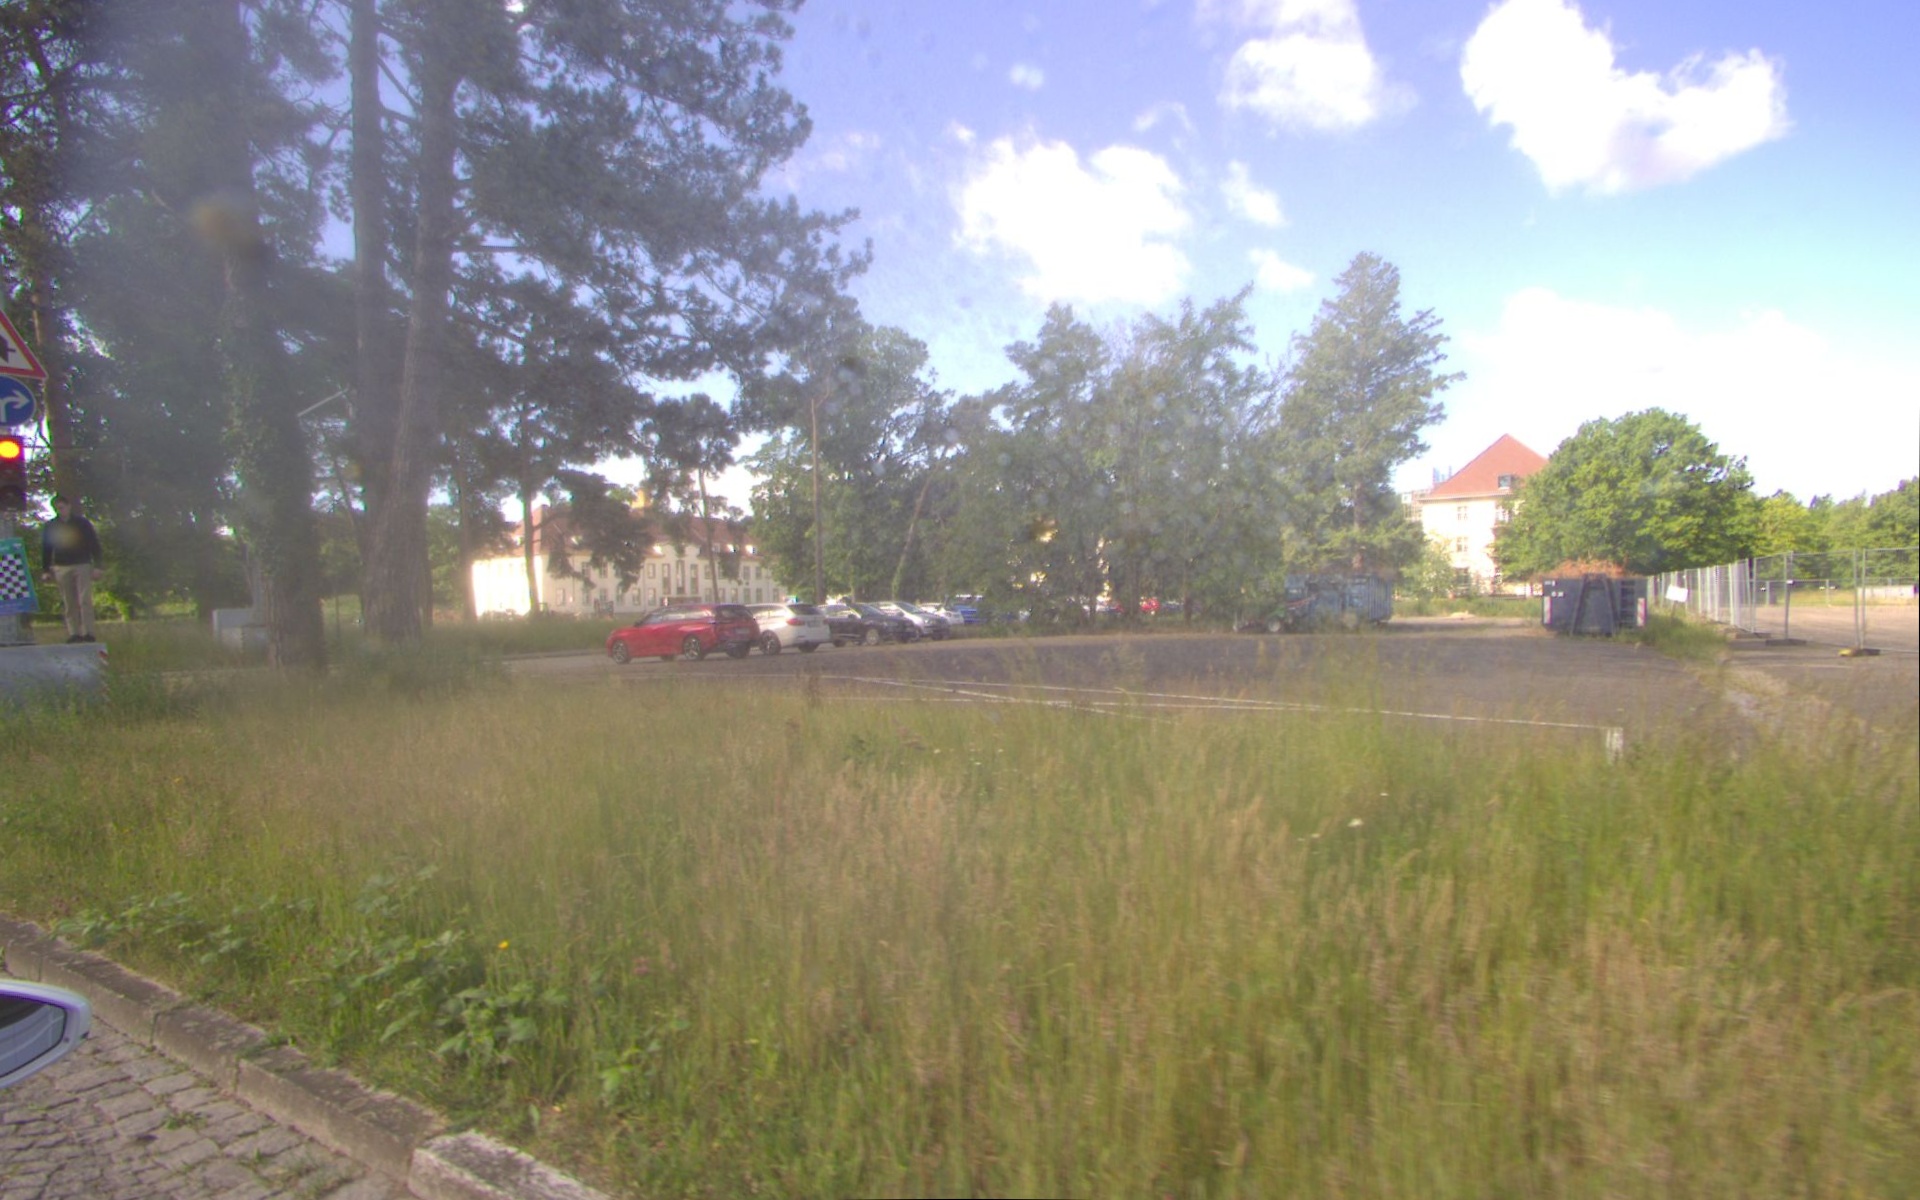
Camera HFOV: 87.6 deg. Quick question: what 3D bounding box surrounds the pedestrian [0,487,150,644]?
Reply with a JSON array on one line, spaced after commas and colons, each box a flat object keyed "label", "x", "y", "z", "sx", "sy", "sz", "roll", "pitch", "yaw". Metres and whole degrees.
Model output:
[{"label": "pedestrian", "x": -10.896, "y": -0.413, "z": 12.350, "sx": 1.154, "sy": 1.820, "sz": 1.057, "roll": -2, "pitch": 2, "yaw": -28}]

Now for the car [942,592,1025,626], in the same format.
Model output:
[{"label": "car", "x": 1.380, "y": 0.562, "z": 60.183, "sx": 4.677, "sy": 1.973, "sz": 1.981, "roll": -1, "pitch": -1, "yaw": 33}]

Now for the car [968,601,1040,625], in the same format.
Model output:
[{"label": "car", "x": 2.729, "y": 0.820, "z": 62.490, "sx": 4.181, "sy": 1.443, "sz": 1.720, "roll": -1, "pitch": -1, "yaw": 33}]

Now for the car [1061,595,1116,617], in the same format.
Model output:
[{"label": "car", "x": 9.360, "y": 0.447, "z": 73.198, "sx": 3.640, "sy": 1.568, "sz": 1.704, "roll": -1, "pitch": -1, "yaw": 33}]

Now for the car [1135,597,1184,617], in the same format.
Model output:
[{"label": "car", "x": 16.916, "y": 0.604, "z": 84.985, "sx": 3.682, "sy": 1.568, "sz": 1.704, "roll": -1, "pitch": -1, "yaw": 33}]

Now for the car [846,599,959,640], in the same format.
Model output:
[{"label": "car", "x": -2.065, "y": 0.702, "z": 35.569, "sx": 3.740, "sy": 1.390, "sz": 1.719, "roll": -1, "pitch": -1, "yaw": 34}]

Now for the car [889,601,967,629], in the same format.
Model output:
[{"label": "car", "x": -1.802, "y": 0.854, "z": 55.998, "sx": 4.181, "sy": 1.487, "sz": 1.720, "roll": -1, "pitch": -1, "yaw": 33}]

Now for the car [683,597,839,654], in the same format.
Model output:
[{"label": "car", "x": -5.630, "y": 0.741, "z": 28.234, "sx": 4.180, "sy": 1.396, "sz": 1.776, "roll": -3, "pitch": -1, "yaw": 31}]

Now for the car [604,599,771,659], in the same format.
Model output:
[{"label": "car", "x": -7.052, "y": 0.775, "z": 25.809, "sx": 4.266, "sy": 1.417, "sz": 1.744, "roll": -2, "pitch": -1, "yaw": 33}]

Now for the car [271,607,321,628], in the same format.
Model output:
[{"label": "car", "x": -53.588, "y": 1.437, "z": 80.757, "sx": 4.103, "sy": 1.603, "sz": 1.823, "roll": -1, "pitch": 1, "yaw": 33}]

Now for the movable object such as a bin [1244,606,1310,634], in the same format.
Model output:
[{"label": "movable object such as a bin", "x": 9.323, "y": 0.594, "z": 29.420, "sx": 1.697, "sy": 0.762, "sz": 1.143, "roll": -1, "pitch": 0, "yaw": 26}]

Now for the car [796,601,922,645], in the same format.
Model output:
[{"label": "car", "x": -3.336, "y": 0.751, "z": 32.849, "sx": 3.988, "sy": 1.332, "sz": 1.612, "roll": -1, "pitch": 1, "yaw": 33}]
